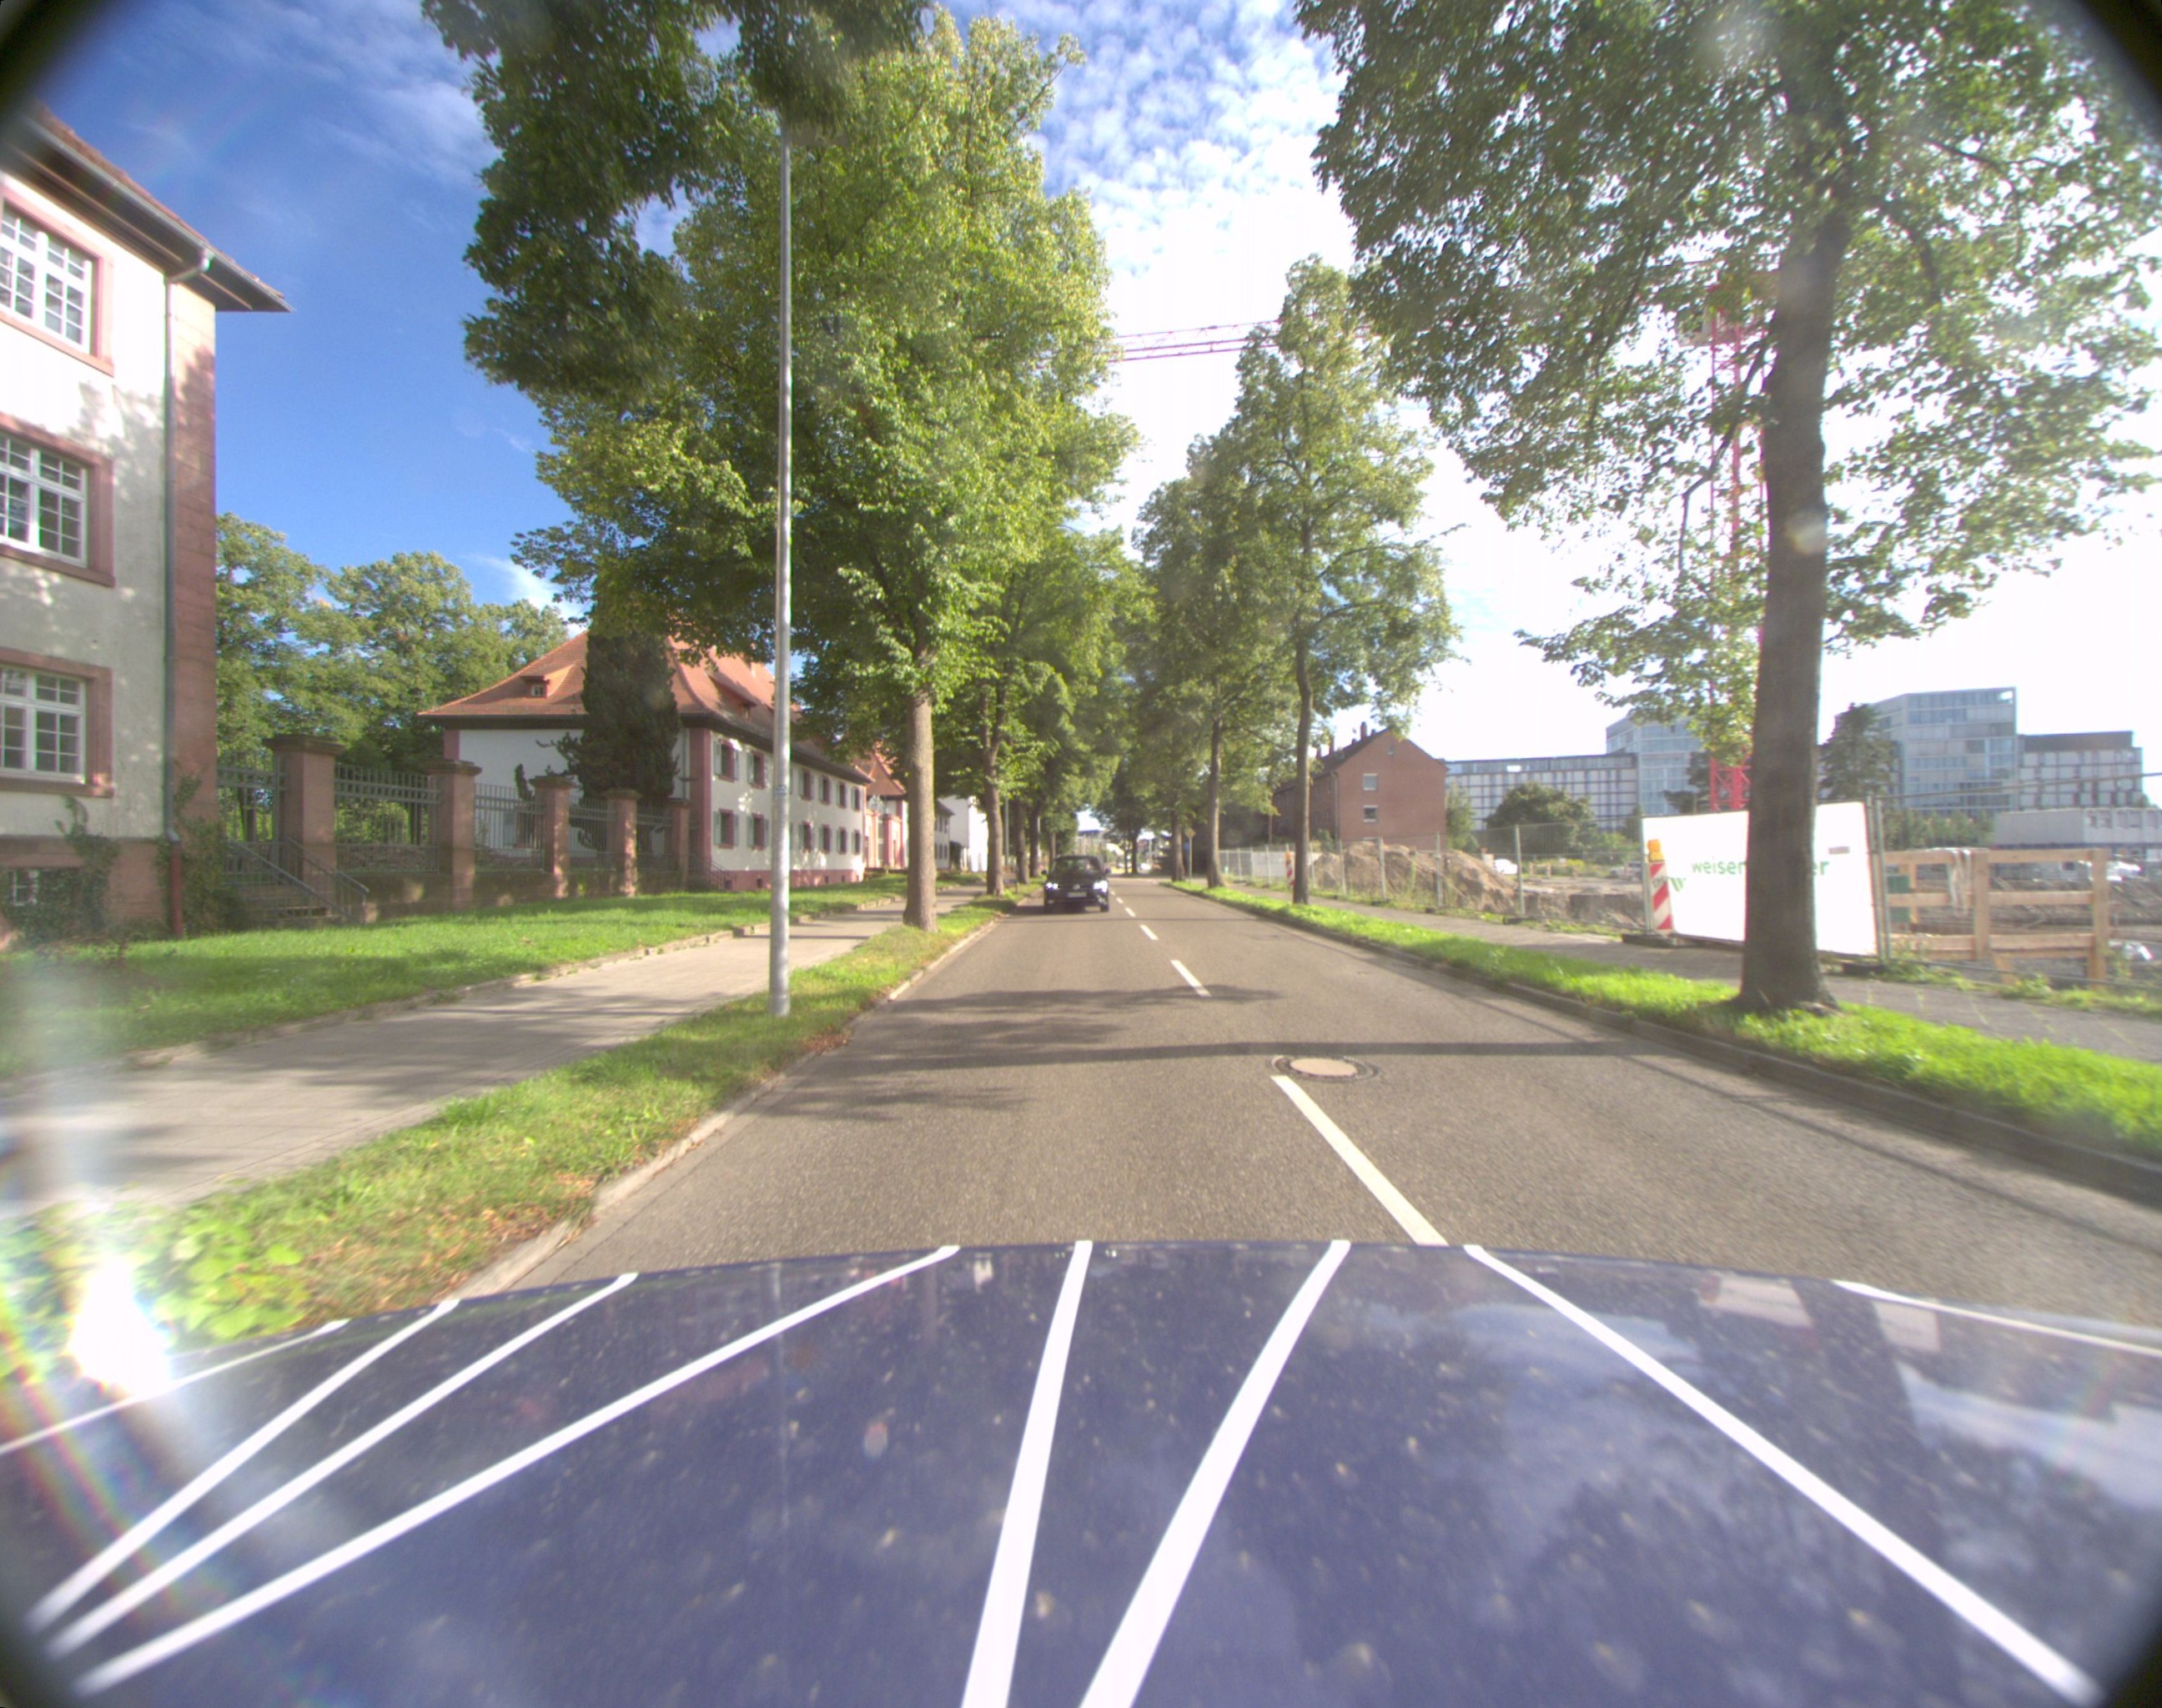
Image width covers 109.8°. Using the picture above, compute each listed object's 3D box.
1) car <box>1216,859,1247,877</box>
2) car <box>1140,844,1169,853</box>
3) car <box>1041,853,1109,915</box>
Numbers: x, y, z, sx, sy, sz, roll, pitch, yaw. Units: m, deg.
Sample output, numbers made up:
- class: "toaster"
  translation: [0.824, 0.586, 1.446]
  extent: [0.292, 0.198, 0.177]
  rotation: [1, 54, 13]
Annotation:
- class: "car"
  translation: [13.318, 1.196, 67.334]
  extent: [1.998, 1.420, 4.508]
  rotation: [0, 1, 2]
- class: "car"
  translation: [15.949, -1.182, 165.623]
  extent: [2.483, 1.856, 6.235]
  rotation: [-2, 0, -43]
- class: "car"
  translation: [-0.103, 0.847, 22.818]
  extent: [1.821, 1.648, 4.244]
  rotation: [-1, -1, 2]
